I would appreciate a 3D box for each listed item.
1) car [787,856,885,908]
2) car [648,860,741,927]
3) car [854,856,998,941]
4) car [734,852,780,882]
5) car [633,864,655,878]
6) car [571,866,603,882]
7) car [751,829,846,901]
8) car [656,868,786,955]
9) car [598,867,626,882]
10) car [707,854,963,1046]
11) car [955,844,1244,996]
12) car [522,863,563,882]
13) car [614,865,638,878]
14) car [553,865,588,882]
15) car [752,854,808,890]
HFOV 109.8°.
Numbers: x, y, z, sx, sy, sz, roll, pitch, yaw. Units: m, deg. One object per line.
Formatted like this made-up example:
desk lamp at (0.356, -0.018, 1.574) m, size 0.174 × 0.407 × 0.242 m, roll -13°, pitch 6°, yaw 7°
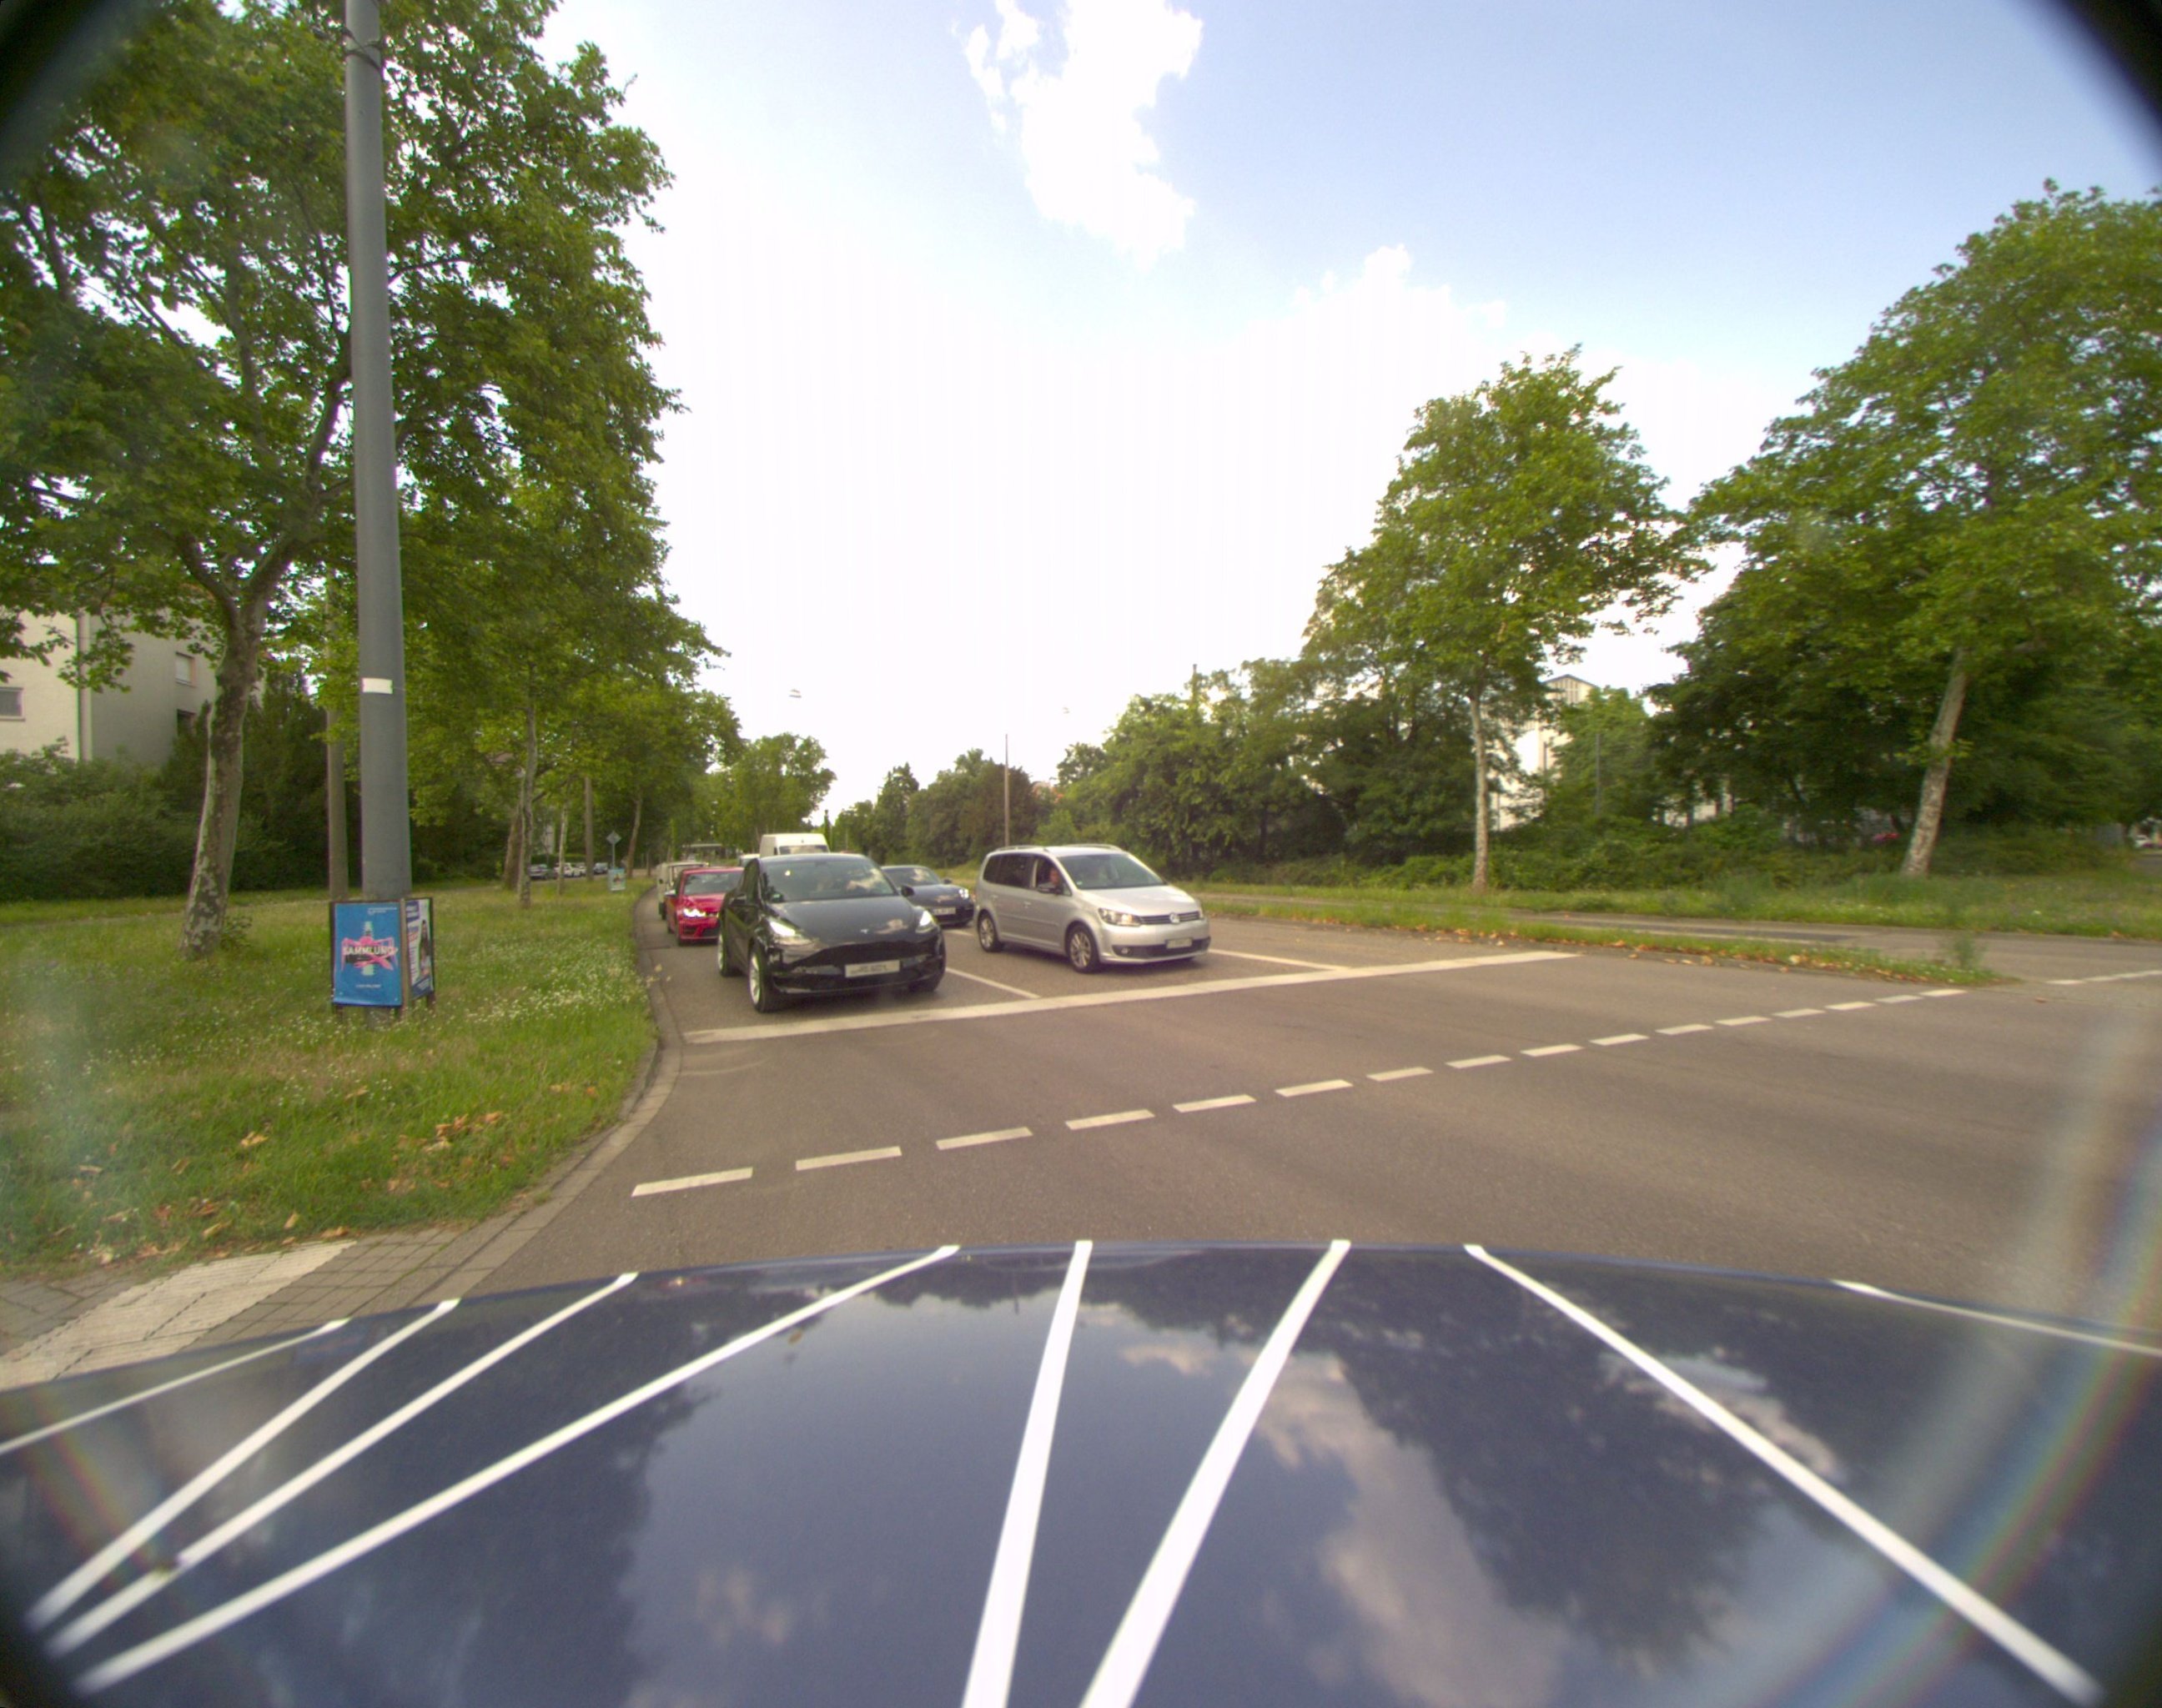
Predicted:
car at (-7.625, 0.780, 23.351) m, size 1.767 × 1.367 × 4.332 m, roll -3°, pitch 2°, yaw -33°
car at (-10.923, 1.015, 21.303) m, size 1.805 × 1.561 × 4.490 m, roll -3°, pitch 2°, yaw -33°
car at (-3.503, 0.853, 16.620) m, size 1.807 × 1.499 × 3.990 m, roll -4°, pitch 2°, yaw -31°
car at (-18.894, 0.715, 44.179) m, size 1.768 × 1.637 × 4.332 m, roll -1°, pitch 1°, yaw -33°
car at (-61.158, 2.389, 106.449) m, size 1.778 × 1.925 × 3.652 m, roll -2°, pitch -1°, yaw -16°
car at (-51.185, 2.057, 78.774) m, size 1.778 × 1.586 × 3.652 m, roll -2°, pitch -1°, yaw -16°
car at (-11.409, 0.386, 30.339) m, size 2.231 × 2.516 × 5.918 m, roll -3°, pitch 2°, yaw -33°
car at (-7.538, 1.050, 15.673) m, size 1.805 × 1.383 × 4.490 m, roll -3°, pitch 2°, yaw -33°
car at (-54.977, 2.419, 89.107) m, size 1.778 × 1.586 × 3.652 m, roll -2°, pitch -1°, yaw -16°
car at (-3.243, 0.864, 9.259) m, size 1.934 × 1.643 × 4.568 m, roll -3°, pitch 2°, yaw -31°
car at (0.008, 0.744, 10.960) m, size 1.934 × 1.643 × 4.490 m, roll -3°, pitch 2°, yaw -33°
car at (-46.810, 1.621, 66.088) m, size 1.778 × 1.586 × 3.652 m, roll -2°, pitch -1°, yaw -16°
car at (-57.737, 2.206, 96.498) m, size 1.778 × 1.586 × 3.652 m, roll -2°, pitch -1°, yaw -16°
car at (-50.027, 1.920, 74.521) m, size 1.778 × 1.586 × 3.652 m, roll -2°, pitch -1°, yaw -16°
car at (-14.833, 0.831, 37.269) m, size 1.847 × 1.609 × 4.146 m, roll -2°, pitch 1°, yaw -31°
